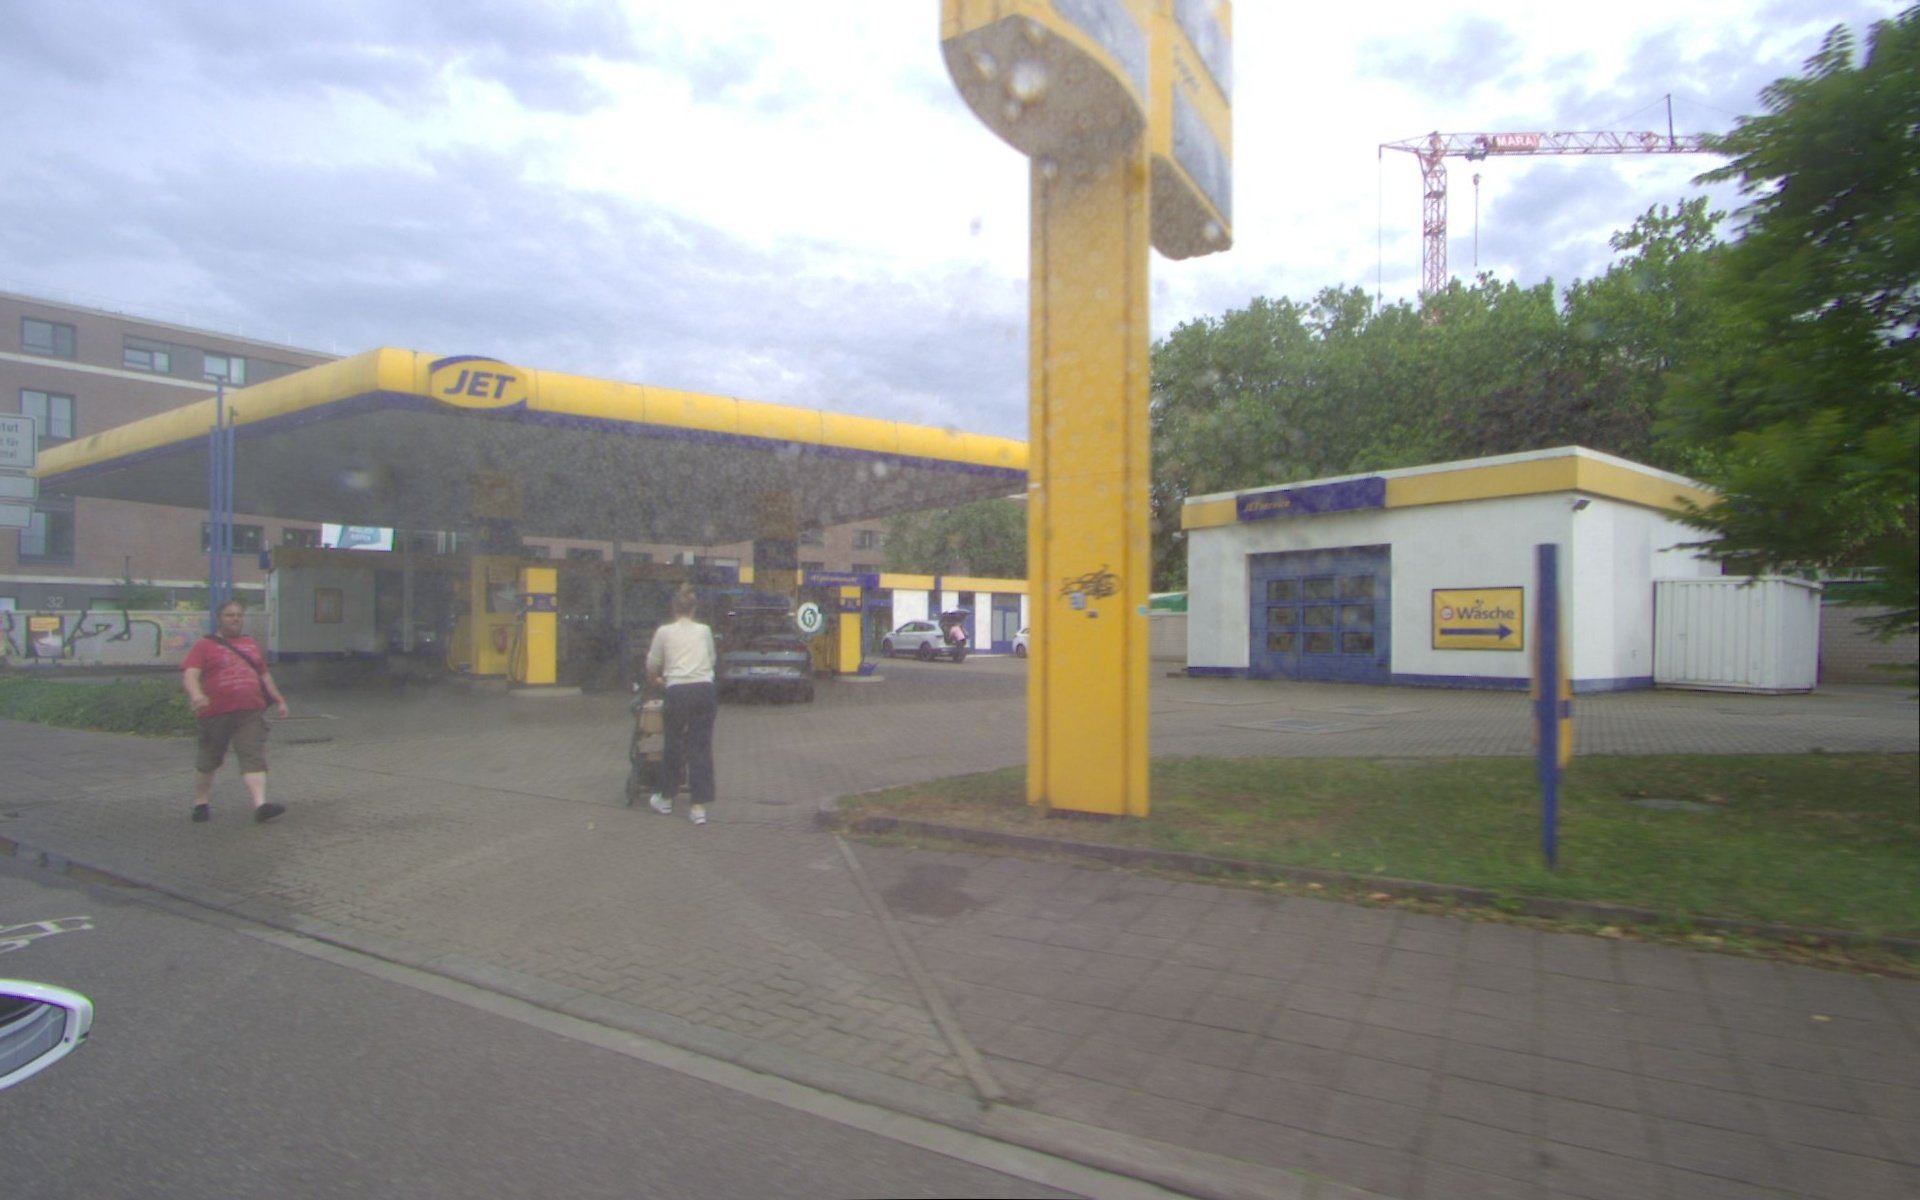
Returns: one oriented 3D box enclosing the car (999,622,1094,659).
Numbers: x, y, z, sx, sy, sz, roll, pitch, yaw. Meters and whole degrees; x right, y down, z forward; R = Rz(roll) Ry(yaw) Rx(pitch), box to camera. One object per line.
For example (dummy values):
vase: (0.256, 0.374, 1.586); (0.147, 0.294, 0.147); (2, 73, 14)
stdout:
car: (3.869, 1.858, 45.188); (1.915, 1.546, 4.303); (3, -4, -37)

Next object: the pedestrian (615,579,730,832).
pedestrian: (-2.272, 0.763, 7.894); (0.757, 1.821, 1.159); (-2, 1, -18)

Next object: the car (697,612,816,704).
car: (-3.730, 0.996, 19.047); (1.958, 1.517, 4.323); (0, 0, -8)

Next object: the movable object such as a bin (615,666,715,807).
movable object such as a bin: (-2.579, 1.147, 8.732); (0.757, 1.053, 1.022); (-2, 1, -18)

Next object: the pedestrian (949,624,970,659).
pedestrian: (-0.016, 1.641, 39.224); (0.573, 1.363, 0.607); (2, -3, -37)

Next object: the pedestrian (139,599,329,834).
pedestrian: (-5.891, 0.884, 8.153); (0.849, 1.761, 0.970); (-1, 0, 32)

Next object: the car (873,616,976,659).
car: (-1.509, 1.584, 41.066); (1.821, 1.658, 4.441); (3, -4, -41)
